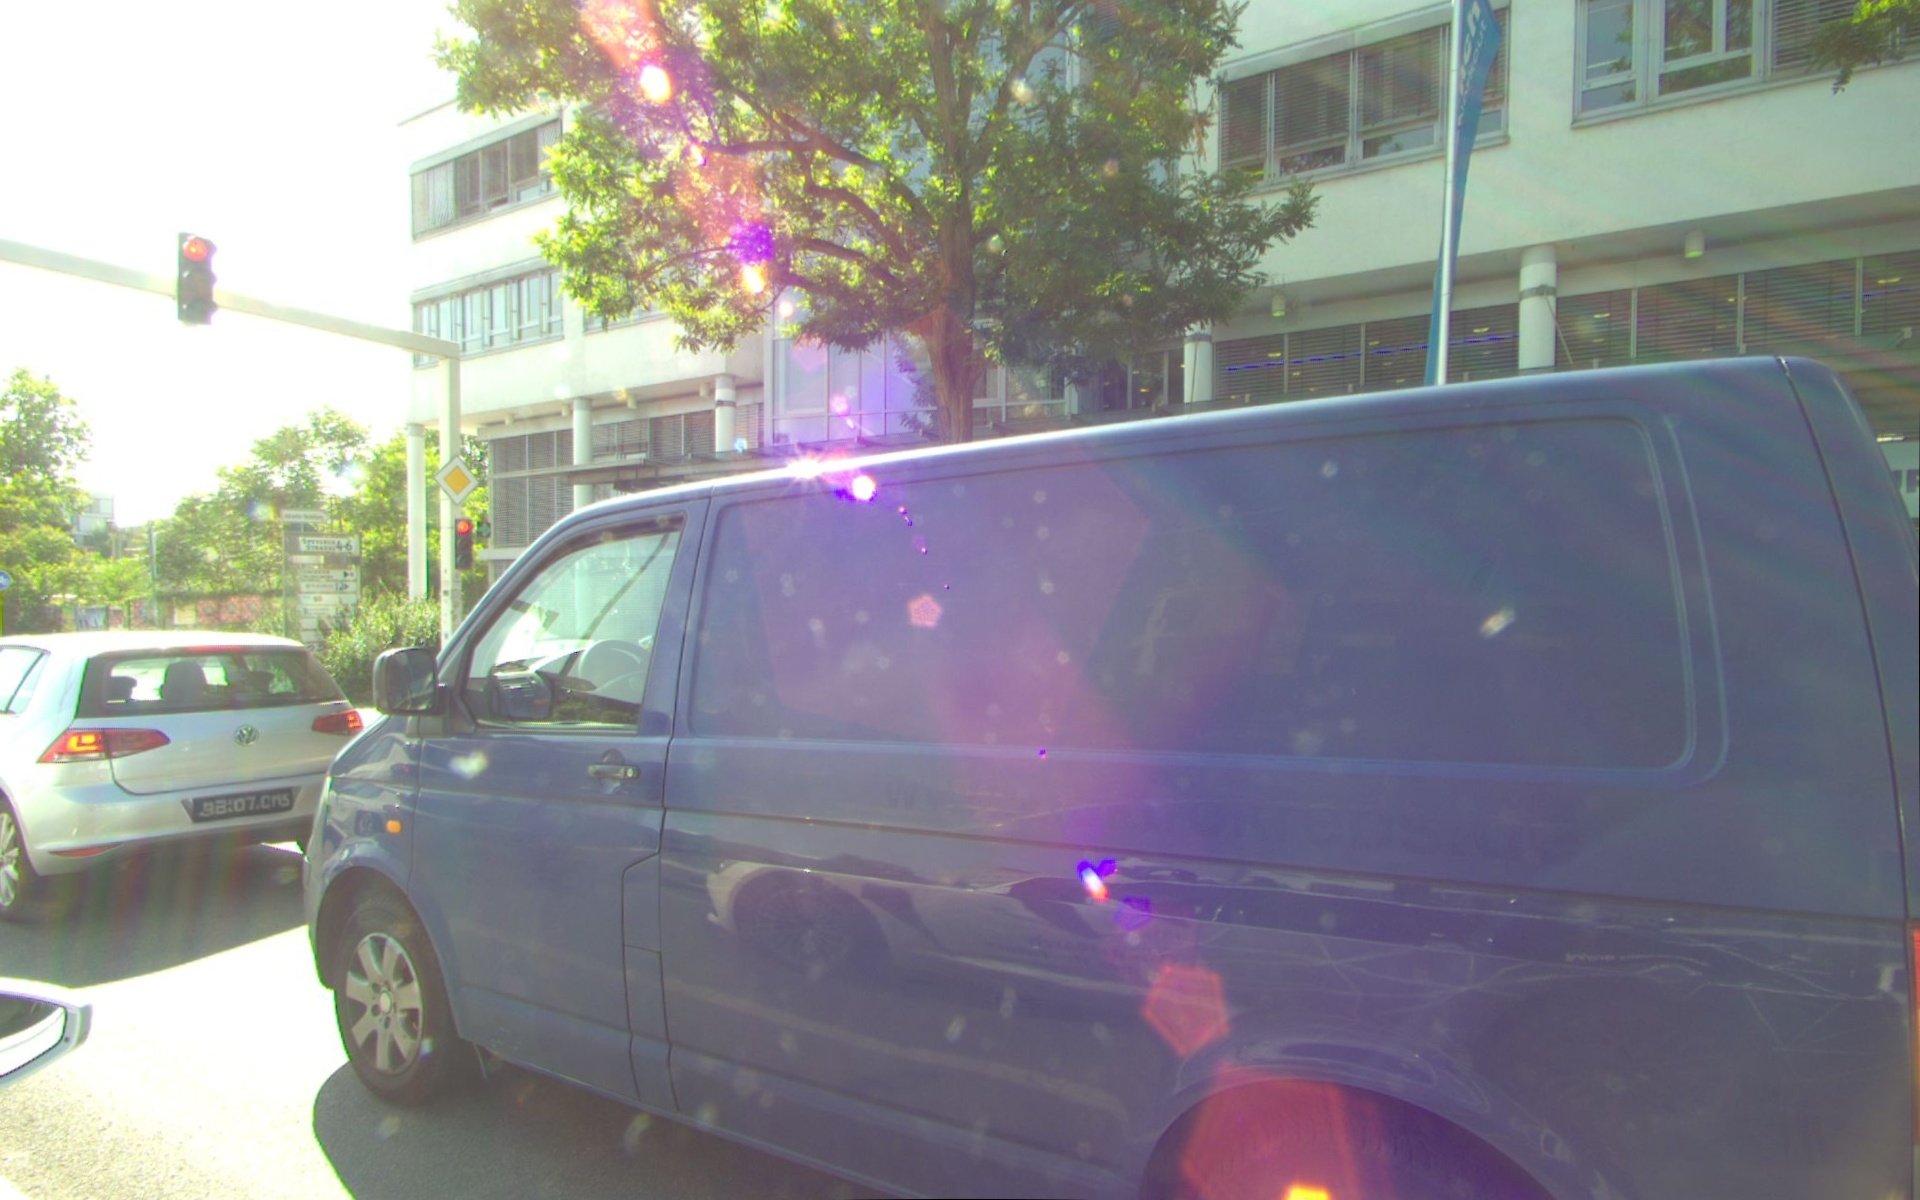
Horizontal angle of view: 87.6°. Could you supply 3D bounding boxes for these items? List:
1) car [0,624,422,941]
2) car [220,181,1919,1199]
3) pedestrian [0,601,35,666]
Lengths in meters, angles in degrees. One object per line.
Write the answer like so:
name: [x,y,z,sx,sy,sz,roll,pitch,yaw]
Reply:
car: [-5.493,0.909,6.455,3.941,1.448,1.804,-1,-1,31]
car: [-0.093,0.538,3.155,4.821,1.973,1.989,-1,0,32]
pedestrian: [-30.010,1.044,31.558,1.023,2.040,1.025,0,0,32]
